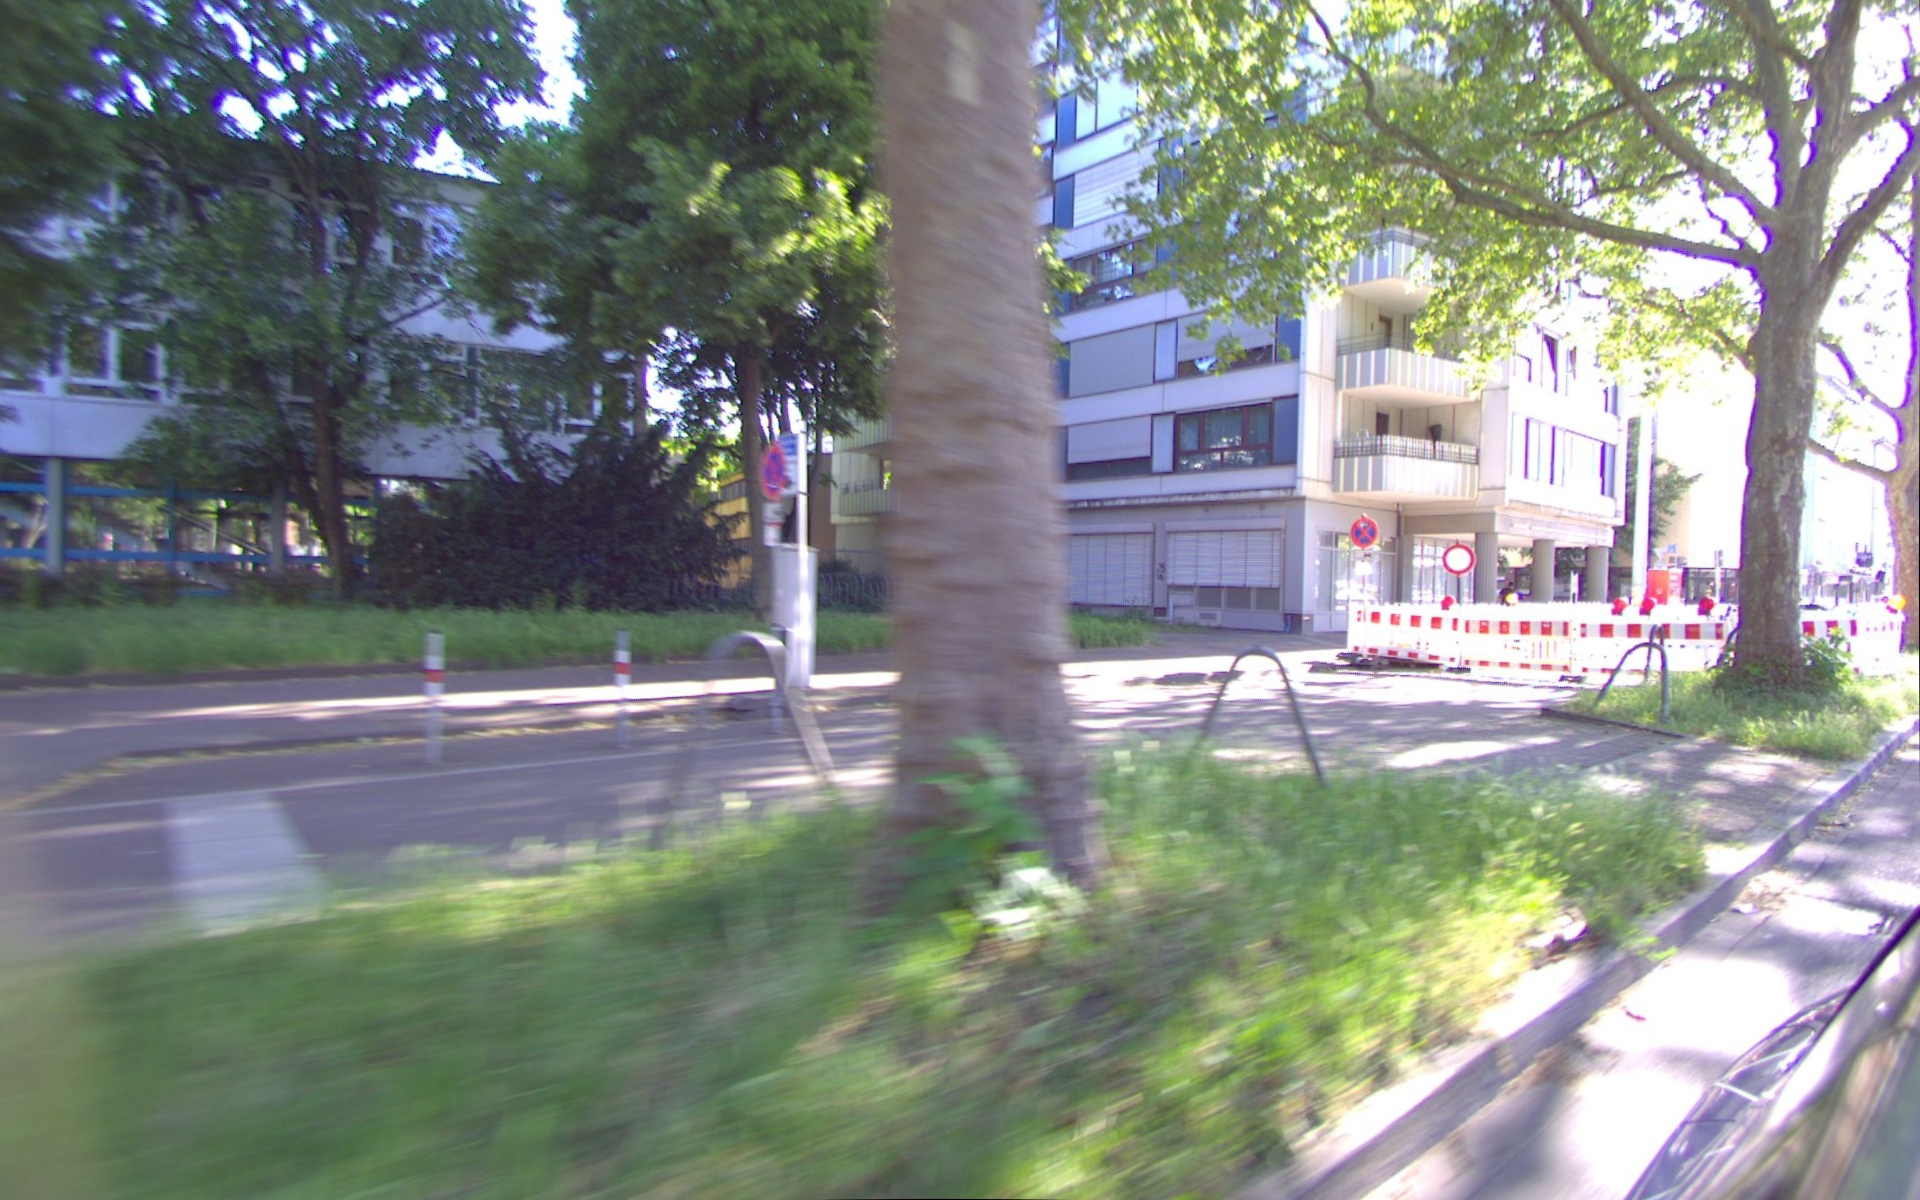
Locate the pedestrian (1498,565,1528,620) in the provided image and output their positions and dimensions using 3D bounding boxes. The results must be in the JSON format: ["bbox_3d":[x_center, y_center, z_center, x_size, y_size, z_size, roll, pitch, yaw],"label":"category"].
[{"bbox_3d":[18.943,-0.270,34.685,0.654,1.838,0.691,0,1,-41],"label":"pedestrian"}]

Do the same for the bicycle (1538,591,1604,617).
[{"bbox_3d":[24.005,0.140,39.800,0.996,0.955,2.039,0,1,-21],"label":"bicycle"}]

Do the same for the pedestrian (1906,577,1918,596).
[{"bbox_3d":[85.071,-1.193,90.413,0.665,1.711,0.663,0,1,-41],"label":"pedestrian"}]

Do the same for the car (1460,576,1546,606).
[{"bbox_3d":[32.349,-0.554,60.406,1.958,1.662,4.258,1,1,-20],"label":"car"}]

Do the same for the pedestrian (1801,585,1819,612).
[{"bbox_3d":[47.871,-0.077,57.012,0.640,1.525,0.672,0,1,-40],"label":"pedestrian"}]
